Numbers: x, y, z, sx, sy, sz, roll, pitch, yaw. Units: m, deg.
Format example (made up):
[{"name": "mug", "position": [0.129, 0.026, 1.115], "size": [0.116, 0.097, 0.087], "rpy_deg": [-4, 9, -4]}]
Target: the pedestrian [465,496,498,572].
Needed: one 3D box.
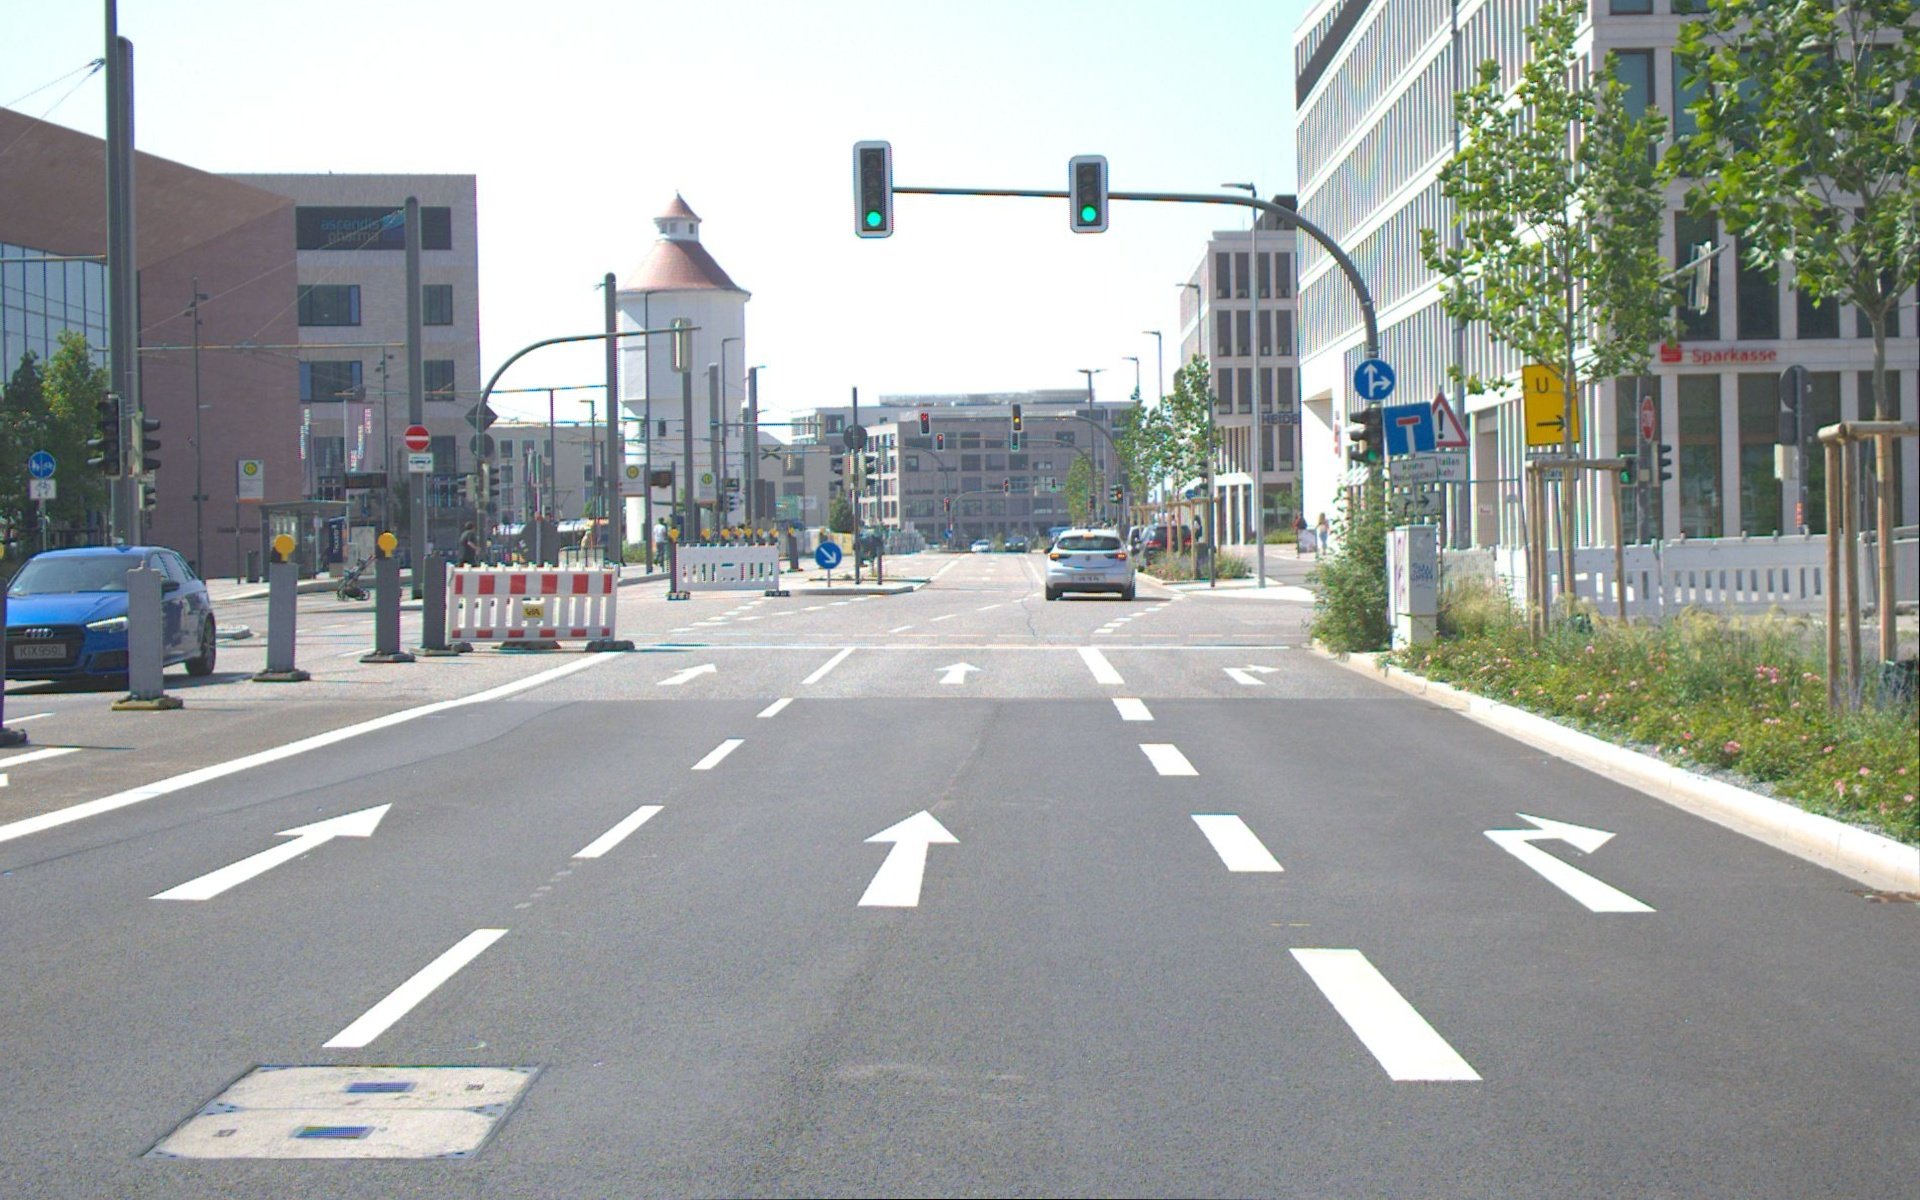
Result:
[{"name": "pedestrian", "position": [-11.564, -1.593, 83.044], "size": [0.653, 1.827, 0.661], "rpy_deg": [0, 2, 5]}]

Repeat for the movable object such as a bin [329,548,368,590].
[{"name": "movable object such as a bin", "position": [-15.041, -0.771, 84.568], "size": [0.713, 1.028, 0.794], "rpy_deg": [-1, 2, -28]}]

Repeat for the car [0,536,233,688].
[{"name": "car", "position": [-8.807, 0.082, 35.418], "size": [1.628, 1.422, 4.290], "rpy_deg": [-2, 1, 1]}]

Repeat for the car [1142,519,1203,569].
[{"name": "car", "position": [6.417, -1.690, 103.705], "size": [1.737, 1.469, 3.980], "rpy_deg": [0, 1, 5]}]

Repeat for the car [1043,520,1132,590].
[{"name": "car", "position": [2.652, -0.906, 71.035], "size": [1.772, 1.390, 3.531], "rpy_deg": [1, 0, 3]}]

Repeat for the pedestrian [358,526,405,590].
[{"name": "pedestrian", "position": [-14.296, -1.048, 84.939], "size": [0.929, 1.557, 0.794], "rpy_deg": [-1, 2, -28]}]
